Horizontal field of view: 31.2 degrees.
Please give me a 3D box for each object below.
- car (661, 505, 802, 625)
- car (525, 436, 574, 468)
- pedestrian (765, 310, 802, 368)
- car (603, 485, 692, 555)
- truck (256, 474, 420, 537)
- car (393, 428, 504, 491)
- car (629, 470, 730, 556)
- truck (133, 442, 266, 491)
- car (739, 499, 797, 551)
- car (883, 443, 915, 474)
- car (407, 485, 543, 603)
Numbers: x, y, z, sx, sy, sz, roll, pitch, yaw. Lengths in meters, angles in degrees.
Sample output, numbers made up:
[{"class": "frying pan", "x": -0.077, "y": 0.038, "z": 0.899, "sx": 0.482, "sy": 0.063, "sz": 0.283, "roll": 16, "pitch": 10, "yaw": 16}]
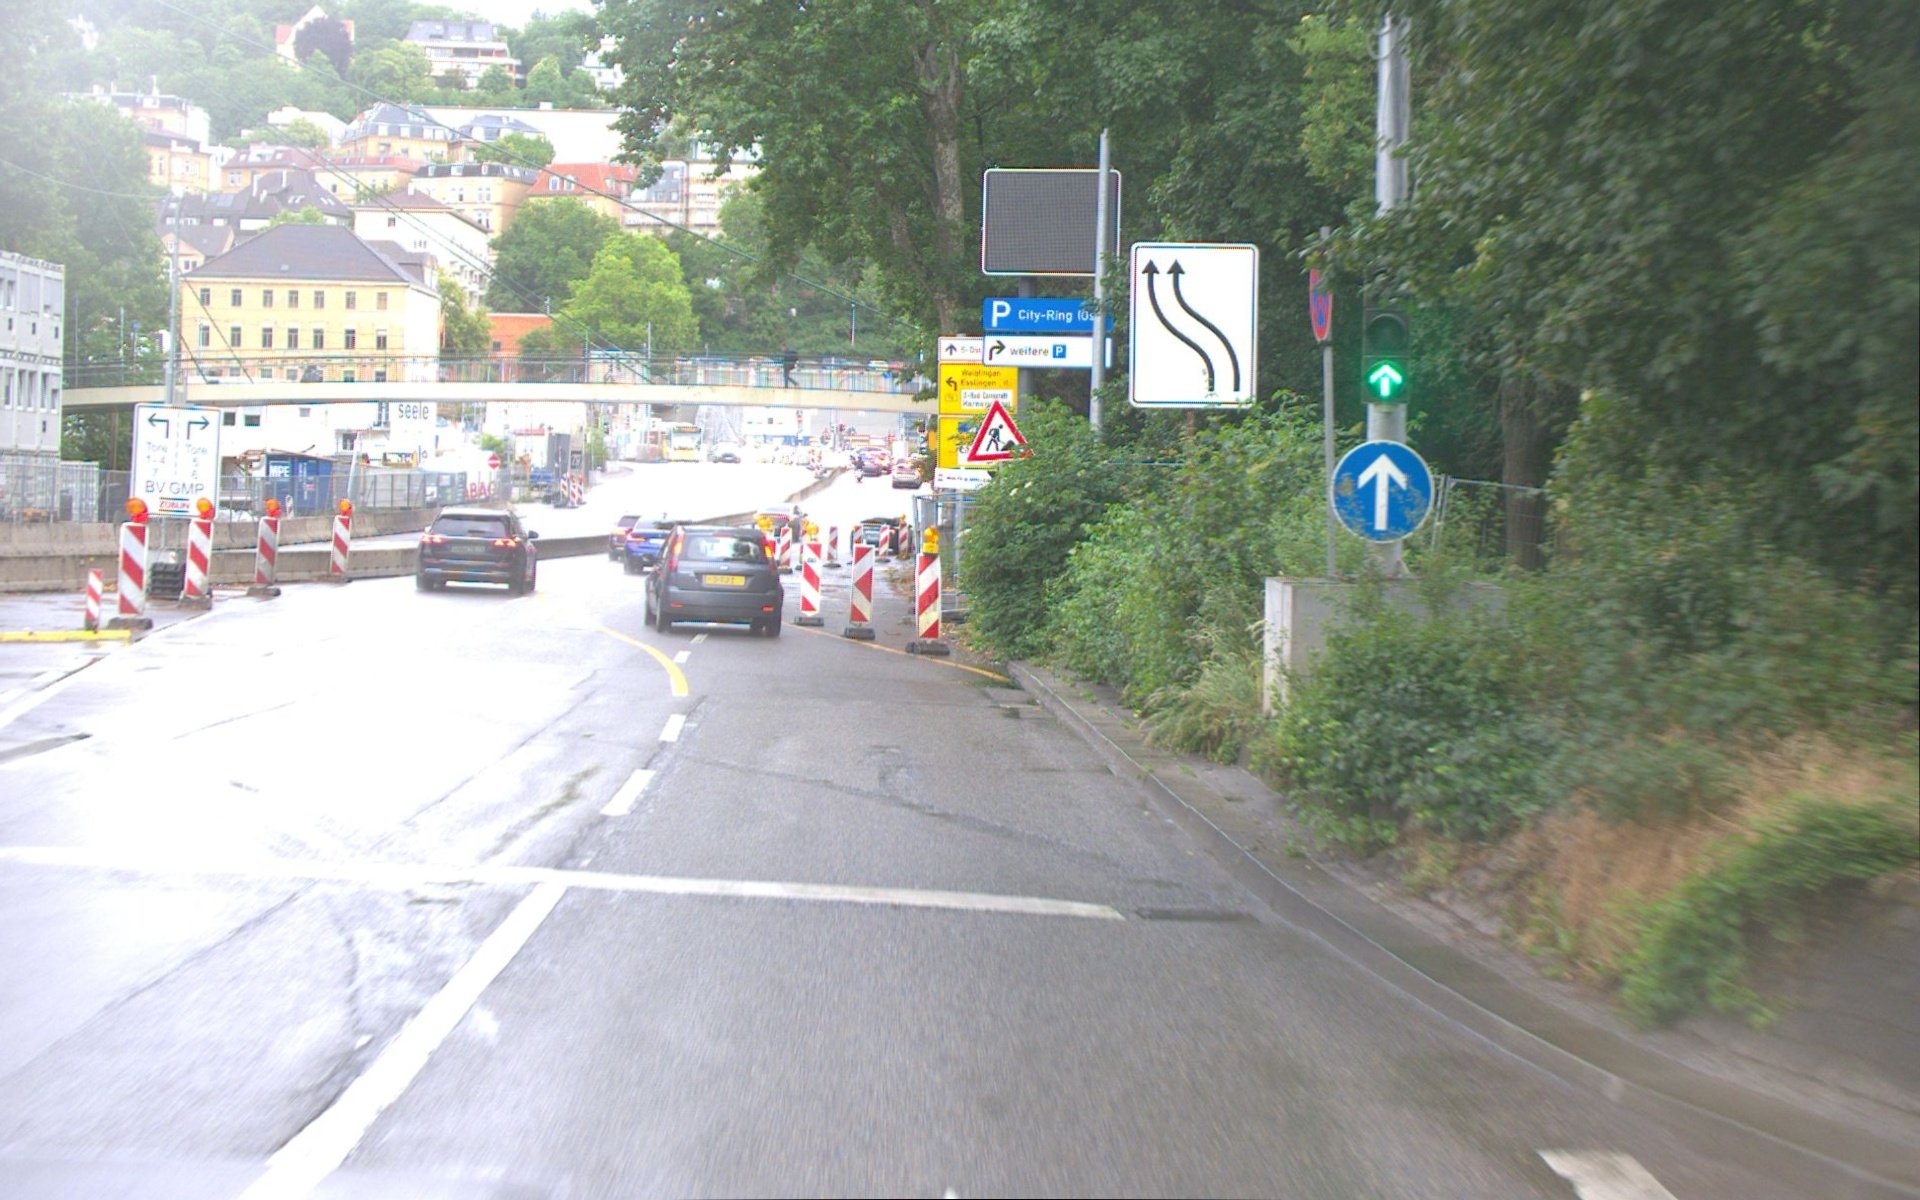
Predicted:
[{"class": "car", "x": -3.114, "y": -0.504, "z": 46.443, "sx": 1.812, "sy": 1.521, "sz": 4.001, "roll": 0, "pitch": 2, "yaw": -5}, {"class": "car", "x": -23.069, "y": -8.319, "z": 193.295, "sx": 1.994, "sy": 1.616, "sz": 4.000, "roll": 1, "pitch": 4, "yaw": 5}, {"class": "pedestrian", "x": -6.445, "y": -9.549, "z": 125.835, "sx": 1.148, "sy": 2.053, "sz": 1.059, "roll": 1, "pitch": 1, "yaw": 9}, {"class": "car", "x": -9.094, "y": -2.358, "z": 100.324, "sx": 1.994, "sy": 2.006, "sz": 4.000, "roll": 0, "pitch": 2, "yaw": 3}, {"class": "truck", "x": -25.014, "y": -3.813, "z": 138.468, "sx": 6.275, "sy": 2.443, "sz": 2.695, "roll": 0, "pitch": 2, "yaw": -6}, {"class": "car", "x": -24.052, "y": -6.600, "z": 161.929, "sx": 1.997, "sy": 2.865, "sz": 6.043, "roll": 1, "pitch": 2, "yaw": 28}, {"class": "car", "x": -6.872, "y": -2.150, "z": 84.559, "sx": 2.105, "sy": 2.043, "sz": 4.000, "roll": 1, "pitch": 2, "yaw": 1}, {"class": "truck", "x": -32.439, "y": -5.694, "z": 146.805, "sx": 5.246, "sy": 2.006, "sz": 2.164, "roll": 1, "pitch": 2, "yaw": -3}, {"class": "car", "x": -7.470, "y": -2.939, "z": 134.012, "sx": 2.051, "sy": 2.006, "sz": 4.000, "roll": 1, "pitch": 2, "yaw": 0}, {"class": "car", "x": -3.821, "y": -8.828, "z": 215.130, "sx": 1.993, "sy": 1.862, "sz": 4.000, "roll": 1, "pitch": 2, "yaw": -1}, {"class": "car", "x": -8.560, "y": -1.014, "z": 61.007, "sx": 2.016, "sy": 2.006, "sz": 4.001, "roll": 1, "pitch": 2, "yaw": -3}]
